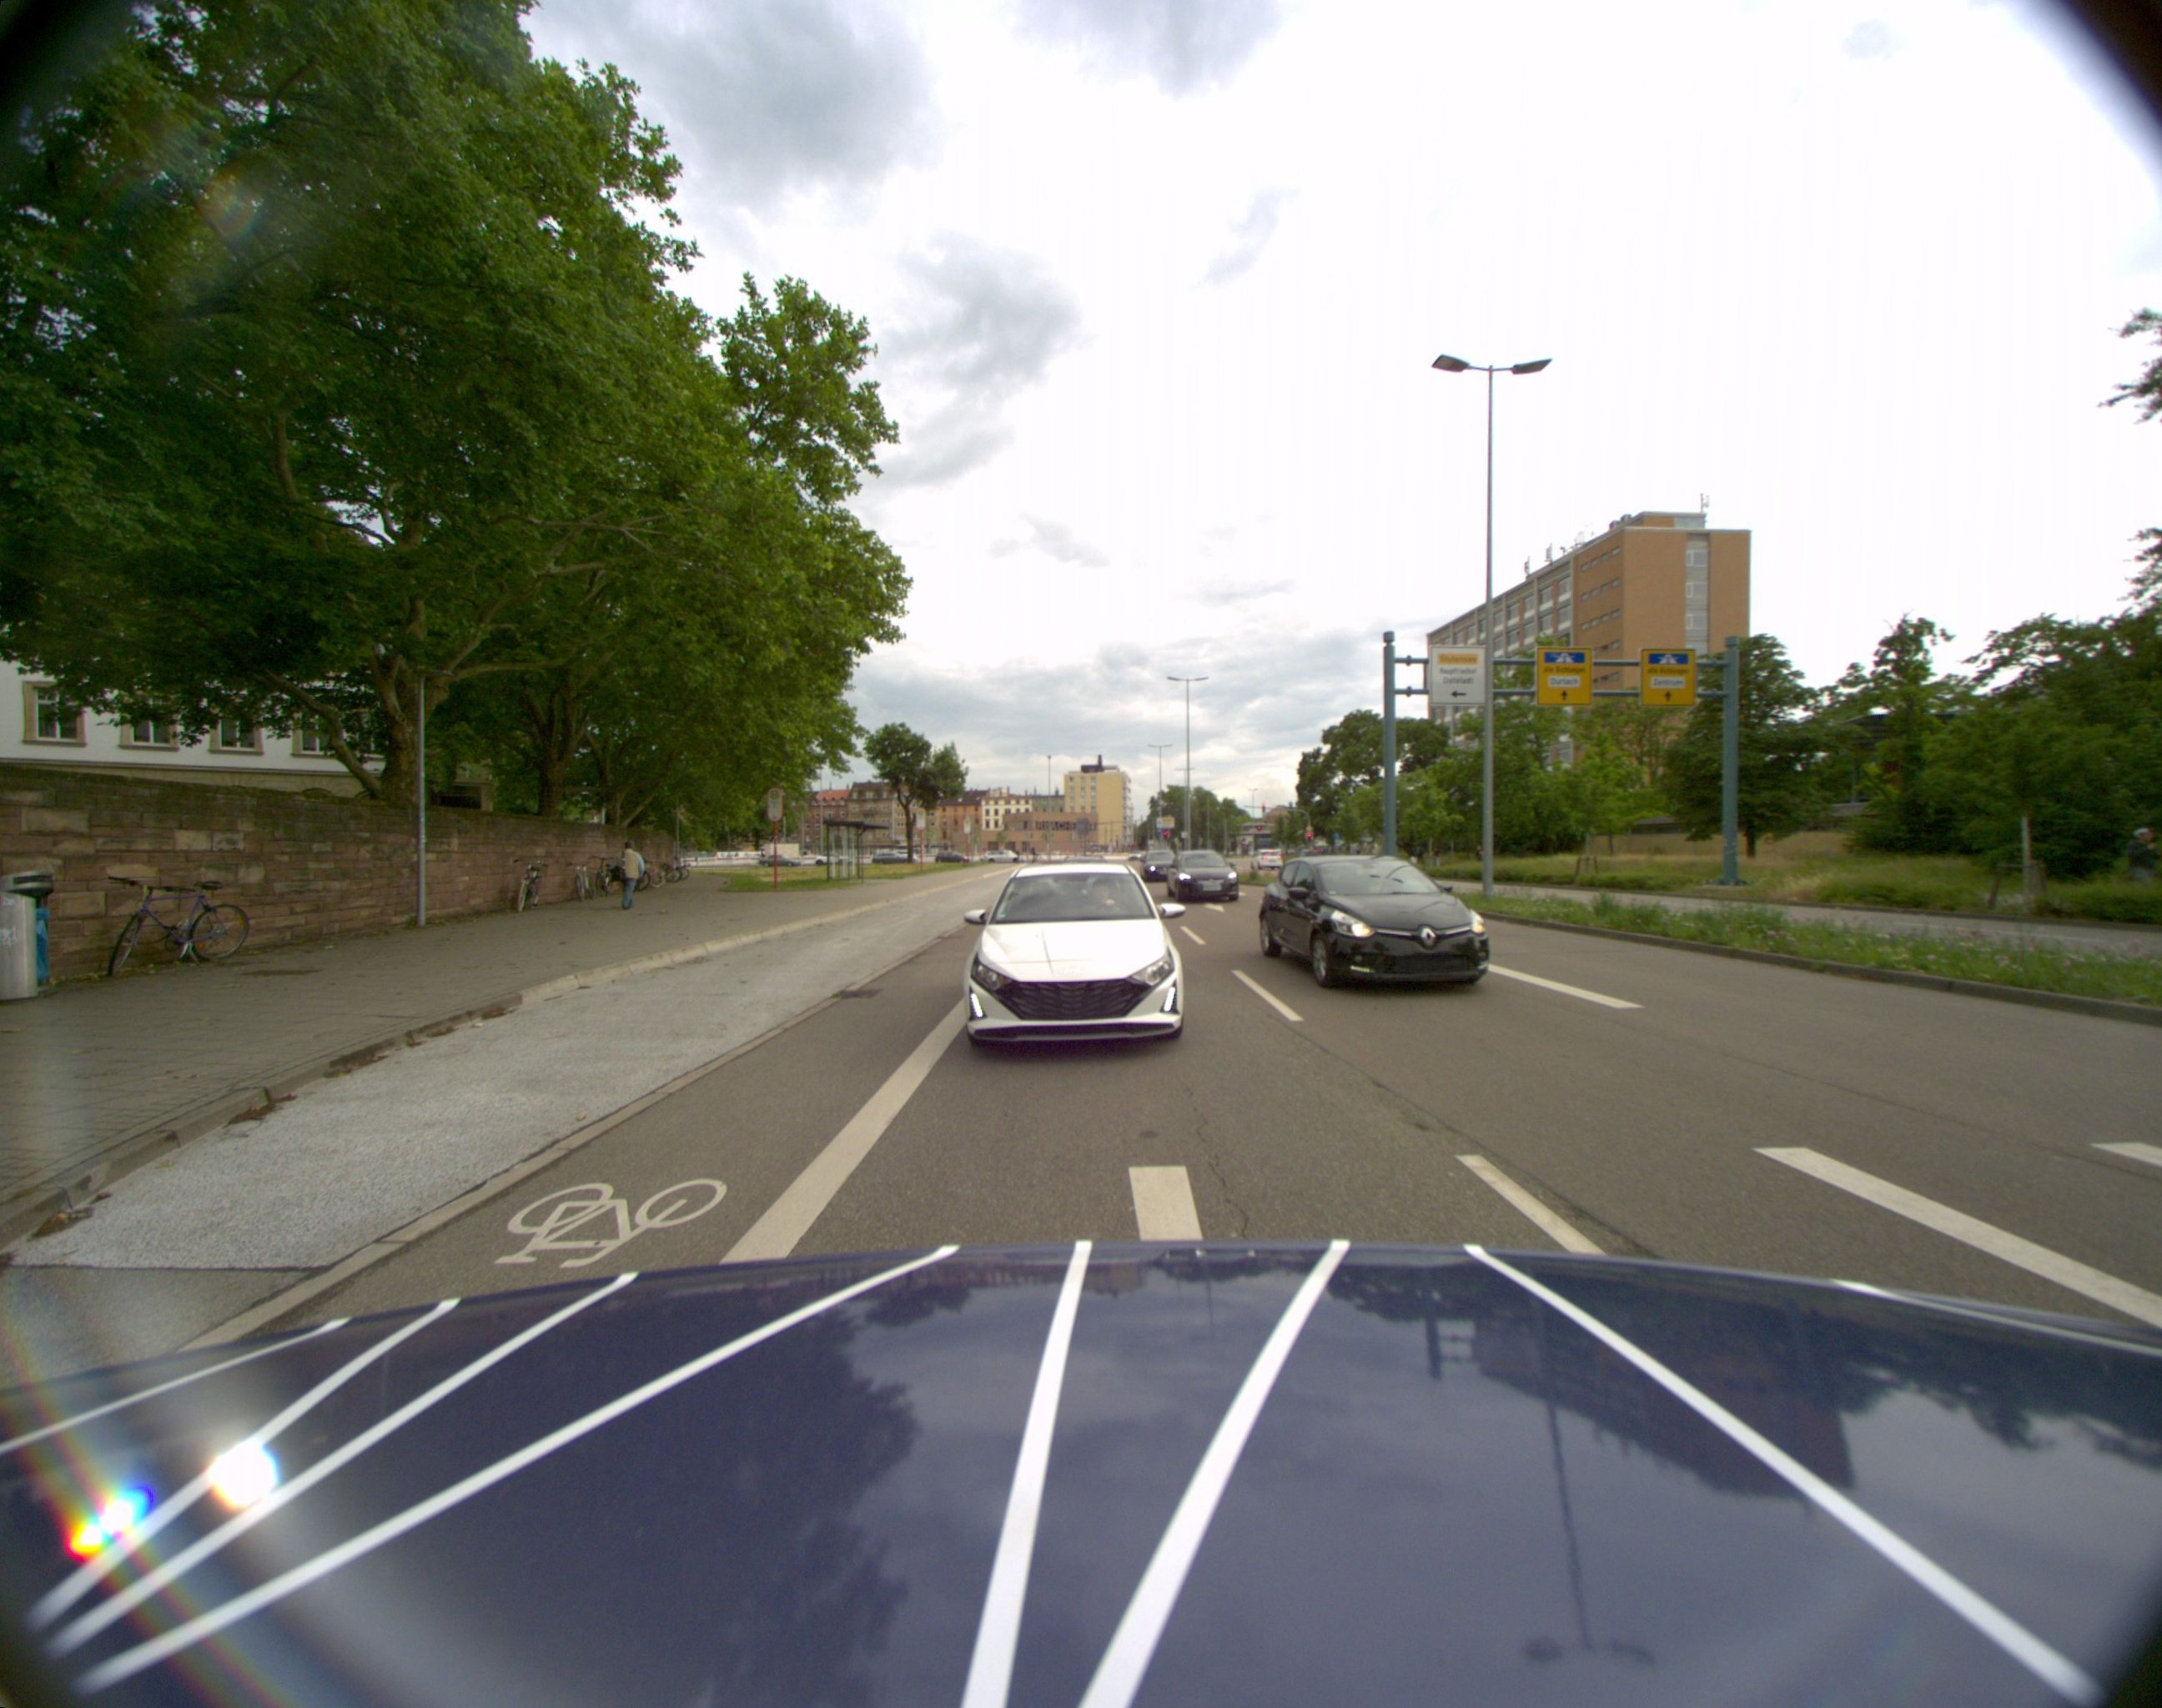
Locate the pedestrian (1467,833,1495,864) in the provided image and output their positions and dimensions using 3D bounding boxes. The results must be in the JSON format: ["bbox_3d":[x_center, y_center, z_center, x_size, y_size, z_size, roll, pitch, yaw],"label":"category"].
[{"bbox_3d":[25.508,-0.380,48.499,1.137,1.908,1.162,-2,1,4],"label":"pedestrian"}]

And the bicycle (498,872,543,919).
[{"bbox_3d":[-12.421,0.901,16.871,0.365,0.934,1.638,-1,1,-21],"label":"bicycle"}]

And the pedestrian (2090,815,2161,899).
[{"bbox_3d":[21.334,0.045,15.288,0.990,1.616,0.813,-2,1,-2],"label":"pedestrian"}]

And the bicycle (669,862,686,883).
[{"bbox_3d":[-18.981,0.861,35.751,0.561,0.934,1.351,-1,1,-22],"label":"bicycle"}]

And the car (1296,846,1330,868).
[{"bbox_3d":[18.080,0.212,59.284,1.854,1.543,4.002,-1,1,7],"label":"car"}]

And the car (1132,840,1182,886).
[{"bbox_3d":[3.503,0.379,35.580,1.998,2.002,4.000,0,1,1],"label":"car"}]

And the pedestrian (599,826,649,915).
[{"bbox_3d":[-10.621,0.376,17.680,0.784,2.001,0.888,0,-1,-17],"label":"pedestrian"}]

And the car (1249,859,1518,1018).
[{"bbox_3d":[3.329,0.819,9.257,1.732,1.450,4.000,0,1,1],"label":"car"}]

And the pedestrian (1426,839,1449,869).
[{"bbox_3d":[25.093,-0.009,53.463,0.882,2.002,1.220,-2,1,-7],"label":"pedestrian"}]

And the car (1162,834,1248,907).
[{"bbox_3d":[3.655,0.443,23.062,1.998,2.002,4.000,0,1,1],"label":"car"}]

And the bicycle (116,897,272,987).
[{"bbox_3d":[-10.571,1.013,9.129,0.291,0.880,1.609,0,1,-12],"label":"bicycle"}]

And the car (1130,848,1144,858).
[{"bbox_3d":[7.480,-0.118,102.405,1.606,1.360,3.578,0,1,-1],"label":"car"}]

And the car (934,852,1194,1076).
[{"bbox_3d":[-0.092,0.768,7.304,1.813,1.533,4.000,0,1,1],"label":"car"}]

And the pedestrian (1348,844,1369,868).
[{"bbox_3d":[24.823,0.173,68.008,1.223,2.002,1.520,-2,1,0],"label":"pedestrian"}]

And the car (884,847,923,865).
[{"bbox_3d":[-21.606,0.286,92.632,4.284,2.002,1.999,-2,1,-5],"label":"car"}]

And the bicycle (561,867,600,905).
[{"bbox_3d":[-13.634,0.846,20.740,0.482,0.934,1.895,-1,1,-22],"label":"bicycle"}]

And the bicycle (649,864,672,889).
[{"bbox_3d":[-17.032,0.884,30.797,0.569,0.934,1.764,-1,1,-22],"label":"bicycle"}]

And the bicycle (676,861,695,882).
[{"bbox_3d":[-20.595,0.890,39.554,0.693,1.078,1.650,-1,0,-22],"label":"bicycle"}]

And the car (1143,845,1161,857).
[{"bbox_3d":[9.172,-0.448,98.319,1.999,1.536,3.999,0,1,-1],"label":"car"}]

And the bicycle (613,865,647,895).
[{"bbox_3d":[-15.122,0.858,25.524,0.655,0.934,1.953,-1,1,-22],"label":"bicycle"}]

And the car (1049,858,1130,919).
[{"bbox_3d":[0.233,0.867,20.716,1.998,1.422,4.000,0,1,1],"label":"car"}]

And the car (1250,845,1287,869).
[{"bbox_3d":[14.831,0.204,60.199,1.893,1.763,3.999,-2,1,0],"label":"car"}]

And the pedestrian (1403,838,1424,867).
[{"bbox_3d":[23.759,-0.087,54.301,0.882,2.002,1.220,-2,1,-7],"label":"pedestrian"}]
